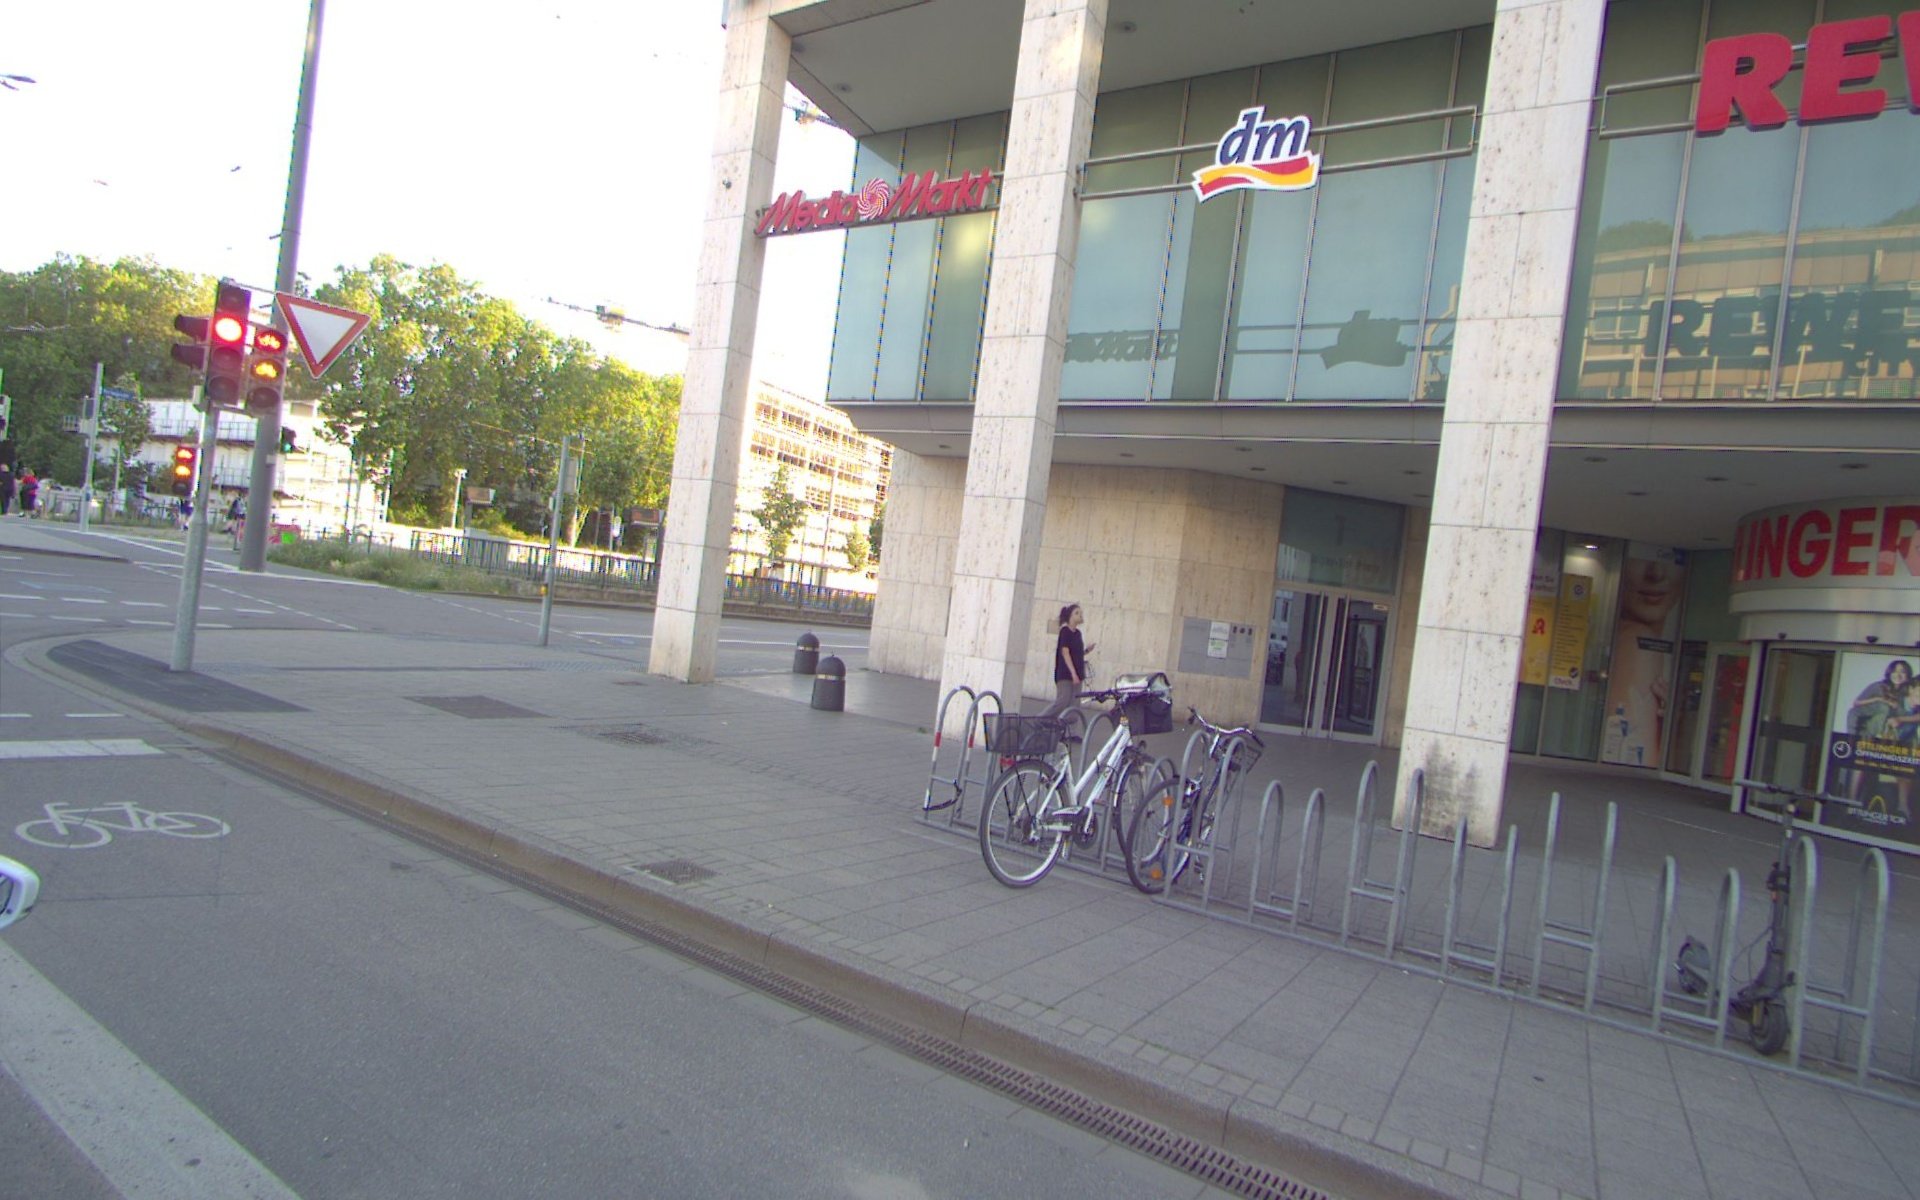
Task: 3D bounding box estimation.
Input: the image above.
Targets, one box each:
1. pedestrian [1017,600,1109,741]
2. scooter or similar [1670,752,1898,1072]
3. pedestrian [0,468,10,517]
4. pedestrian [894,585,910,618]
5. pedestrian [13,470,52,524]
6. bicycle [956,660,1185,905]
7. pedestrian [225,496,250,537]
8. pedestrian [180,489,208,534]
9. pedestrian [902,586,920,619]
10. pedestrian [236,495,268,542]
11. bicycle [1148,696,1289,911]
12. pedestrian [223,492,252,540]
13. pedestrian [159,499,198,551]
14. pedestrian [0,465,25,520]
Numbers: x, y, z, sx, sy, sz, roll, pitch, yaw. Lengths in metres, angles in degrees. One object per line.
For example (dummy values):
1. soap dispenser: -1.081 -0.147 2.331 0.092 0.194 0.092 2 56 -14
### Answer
1. pedestrian: 1.318 0.890 12.780 0.696 1.659 0.791 8 1 31
2. scooter or similar: 3.985 1.437 4.955 0.484 1.214 1.196 8 1 27
3. pedestrian: -34.184 -3.834 35.682 0.570 1.699 0.631 7 1 -44
4. pedestrian: -3.744 0.122 64.781 0.559 2.039 0.575 8 1 29
5. pedestrian: -32.905 -3.653 35.675 0.696 1.756 0.843 8 1 44
6. bicycle: 0.698 1.006 5.925 0.540 1.198 1.479 8 1 36
7. pedestrian: -28.144 -3.251 39.188 0.672 1.459 0.707 7 1 -36
8. pedestrian: -29.289 -3.374 38.484 0.527 1.612 0.571 8 1 32
9. pedestrian: -3.137 0.171 64.460 0.631 2.039 0.626 8 1 28
10. pedestrian: -28.590 -3.299 40.639 0.657 1.746 0.711 8 1 33
11. bicycle: 1.738 1.232 6.565 0.474 1.092 1.773 8 0 24
12. pedestrian: -27.710 -3.227 38.573 0.708 1.746 0.660 7 1 -41
13. pedestrian: -28.556 -2.741 36.775 0.700 1.746 0.668 7 1 -2
14. pedestrian: -33.015 -3.731 34.803 0.803 1.814 0.790 7 1 -44
